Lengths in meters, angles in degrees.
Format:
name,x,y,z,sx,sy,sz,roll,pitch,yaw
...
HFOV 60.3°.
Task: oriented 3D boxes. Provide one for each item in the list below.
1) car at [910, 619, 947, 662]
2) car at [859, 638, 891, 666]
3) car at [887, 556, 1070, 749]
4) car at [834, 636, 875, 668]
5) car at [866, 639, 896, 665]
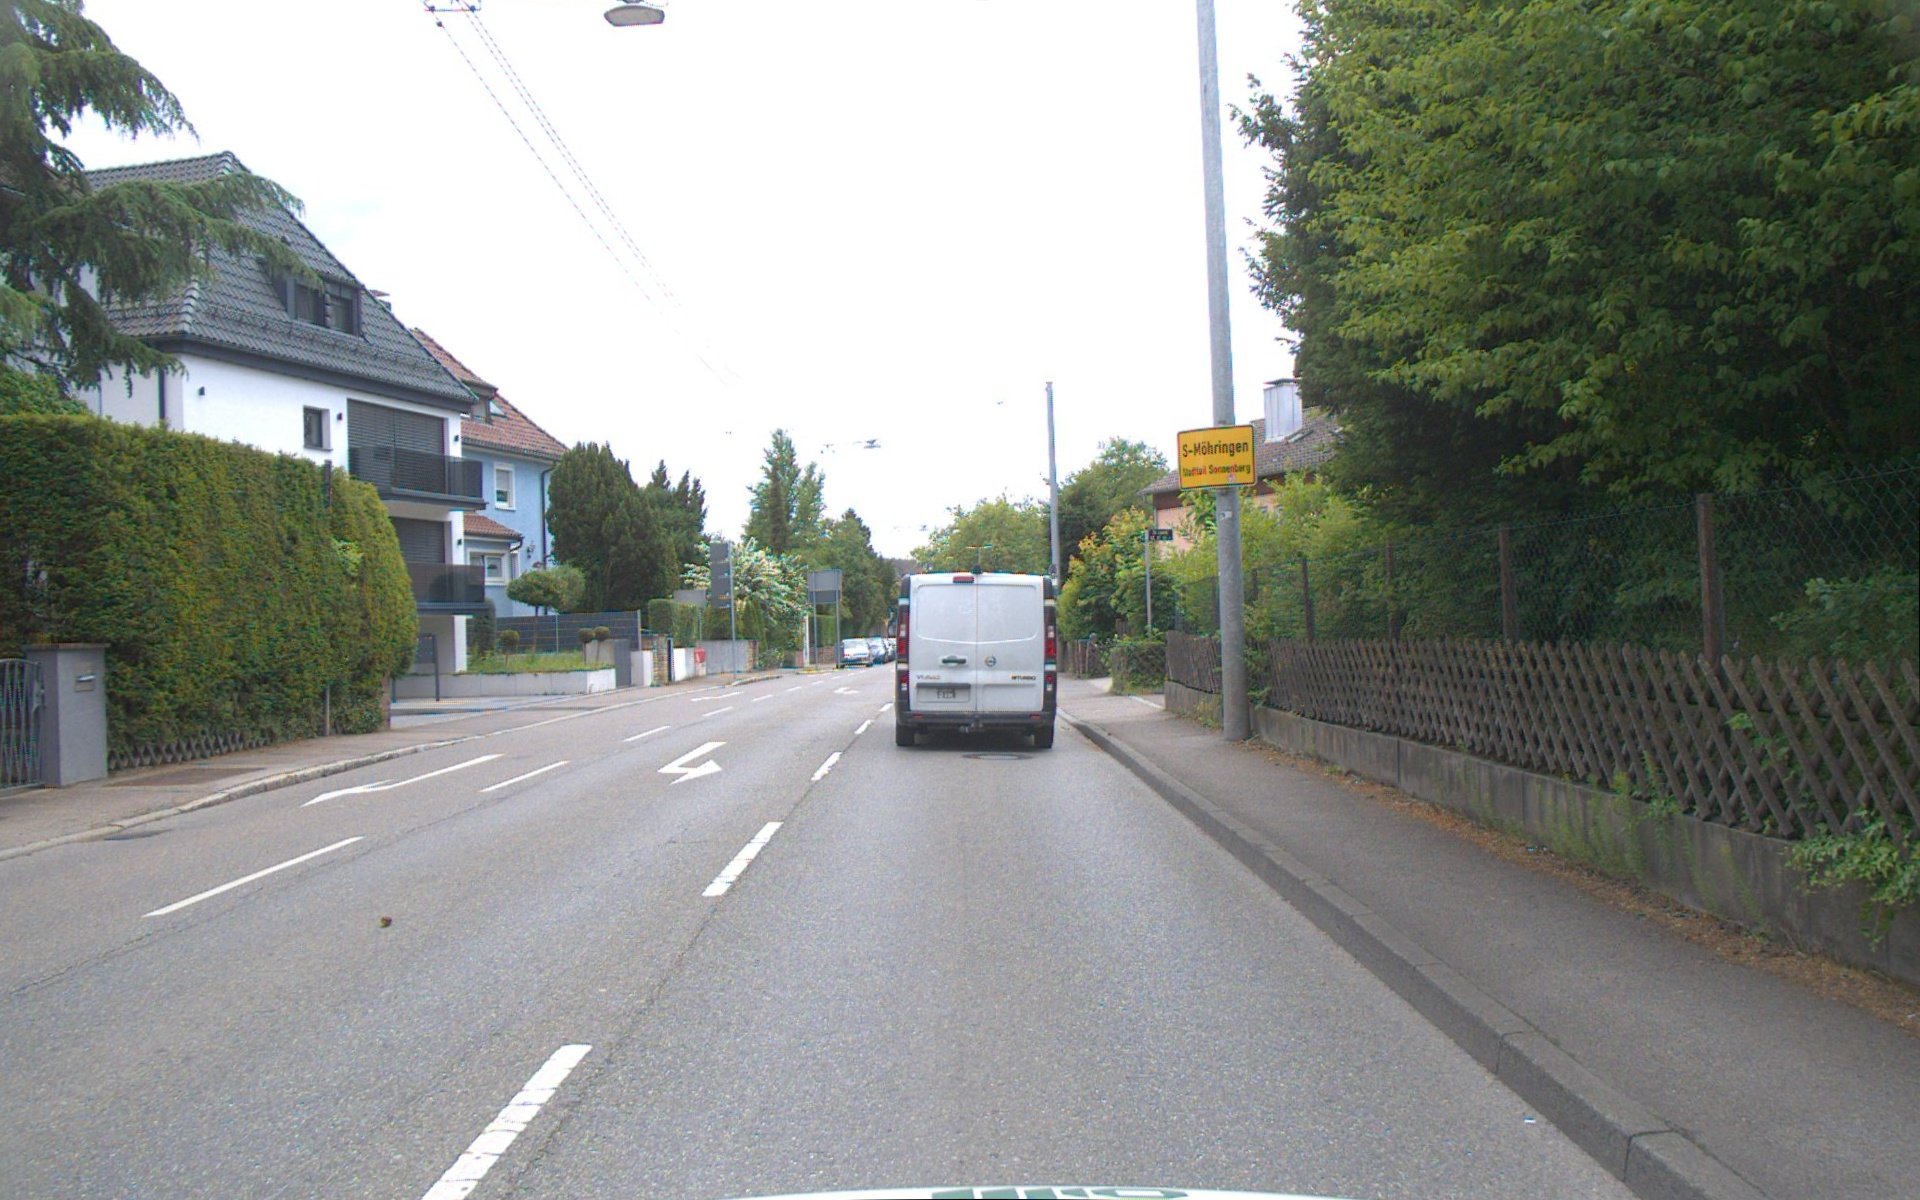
name,x,y,z,sx,sy,sz,roll,pitch,yaw
car,-2.004,2.595,107.689,2.068,2.542,6.126,-2,1,1
car,-5.095,3.138,99.551,1.644,1.583,3.971,-3,-2,0
car,0.193,0.581,20.492,1.965,2.073,5.009,0,0,0
car,-5.352,2.624,84.433,1.773,1.481,4.412,-4,-1,-1
car,-5.129,3.358,107.448,1.720,1.520,4.192,-3,-1,0
